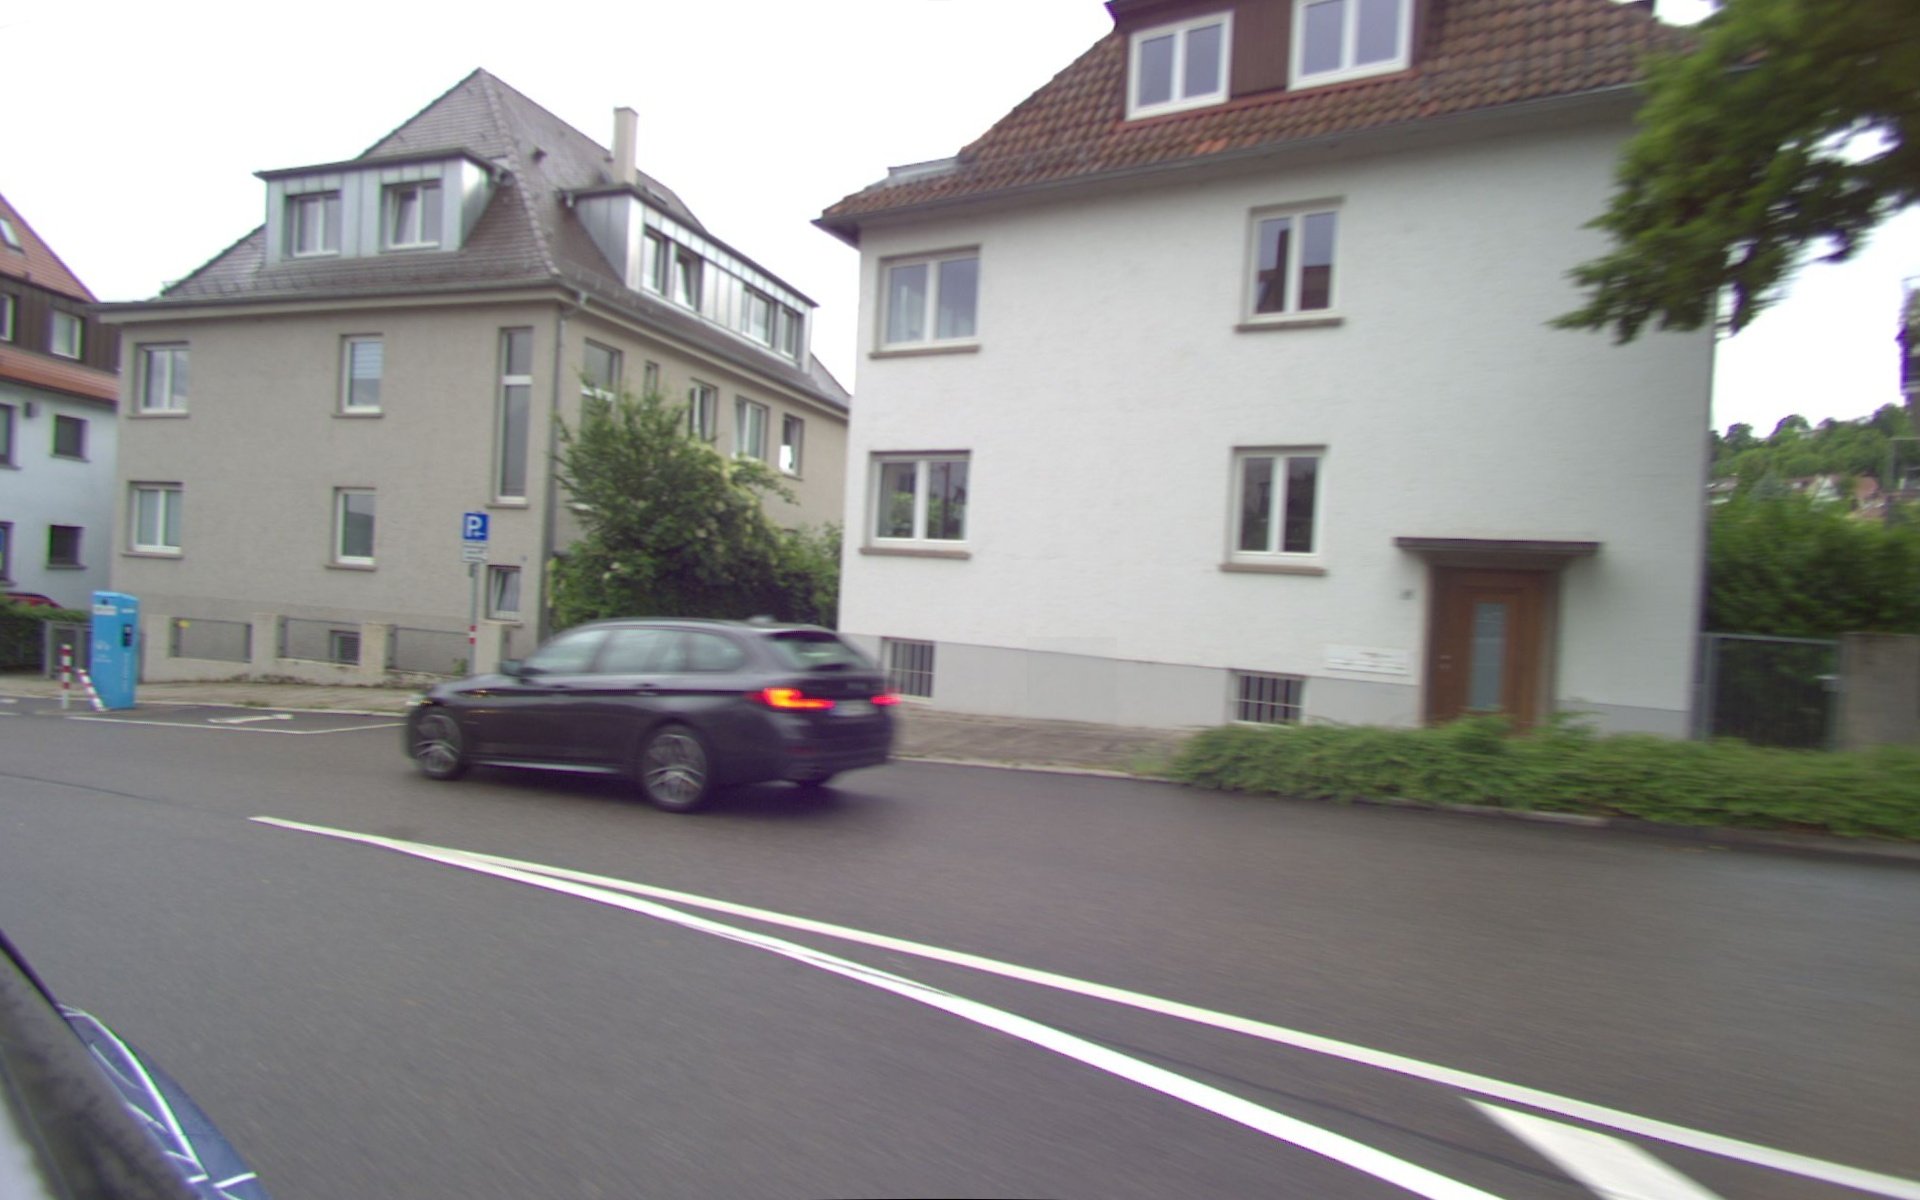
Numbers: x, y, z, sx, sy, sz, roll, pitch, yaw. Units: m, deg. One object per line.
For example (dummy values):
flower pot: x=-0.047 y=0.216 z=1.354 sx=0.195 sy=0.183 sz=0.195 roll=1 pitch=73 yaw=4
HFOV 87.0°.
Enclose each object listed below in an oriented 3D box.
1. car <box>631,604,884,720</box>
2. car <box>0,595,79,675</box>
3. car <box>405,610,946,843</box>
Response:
car: x=-3.261 y=0.915 z=17.130 sx=1.991 sy=1.636 sz=4.213 roll=0 pitch=1 yaw=28
car: x=-23.041 y=0.817 z=23.265 sx=1.973 sy=1.837 sz=3.997 roll=0 pitch=-3 yaw=2
car: x=-2.574 y=0.896 z=8.789 sx=4.620 sy=1.503 sz=1.856 roll=0 pitch=-2 yaw=31
